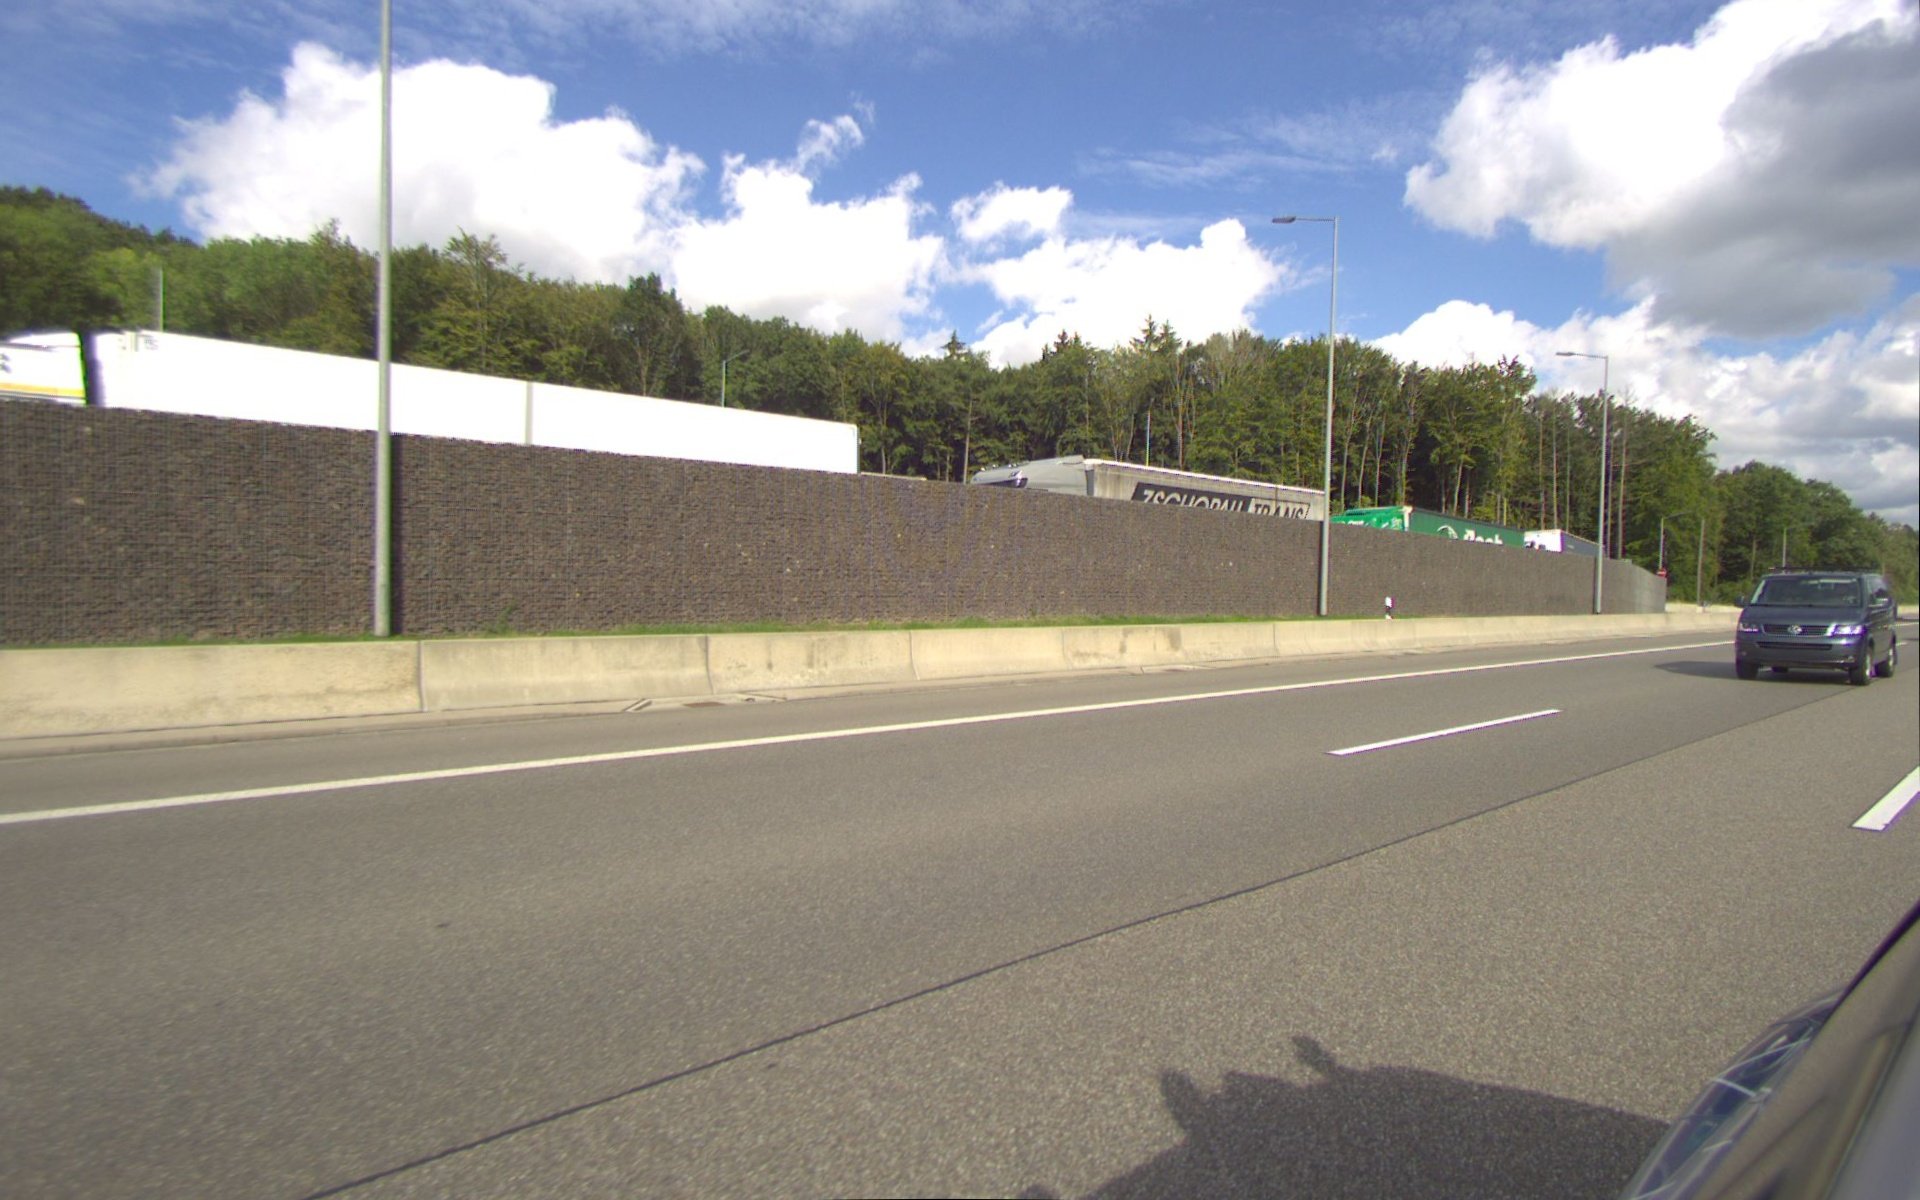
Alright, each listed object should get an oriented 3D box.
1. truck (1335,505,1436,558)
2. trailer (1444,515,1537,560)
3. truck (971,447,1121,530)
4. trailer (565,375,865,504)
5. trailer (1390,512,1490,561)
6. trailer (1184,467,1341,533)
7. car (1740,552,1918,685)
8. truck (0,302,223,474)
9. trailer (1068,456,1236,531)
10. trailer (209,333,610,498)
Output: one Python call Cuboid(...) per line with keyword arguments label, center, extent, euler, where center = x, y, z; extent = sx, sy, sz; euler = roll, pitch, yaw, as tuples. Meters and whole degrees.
Cuboid(label="truck", center=(18.087, -2.866, 42.926), extent=(4.697, 2.038, 2.049), euler=(-2, 2, -40))
Cuboid(label="trailer", center=(26.306, -3.043, 50.062), extent=(6.087, 2.038, 1.997), euler=(-3, 2, -41))
Cuboid(label="truck", center=(2.501, -3.109, 28.966), extent=(4.026, 2.038, 2.048), euler=(-2, 2, -41))
Cuboid(label="trailer", center=(-5.266, -3.396, 22.524), extent=(6.211, 2.038, 2.134), euler=(0, 2, -41))
Cuboid(label="trailer", center=(21.998, -2.866, 46.250), extent=(5.675, 2.038, 1.997), euler=(-3, 2, -40))
Cuboid(label="trailer", center=(11.004, -3.500, 36.423), extent=(6.844, 2.038, 2.054), euler=(-3, 2, -41))
Cuboid(label="car", center=(16.491, 0.254, 19.115), extent=(4.876, 2.192, 1.925), euler=(-1, 1, -42))
Cuboid(label="truck", center=(-13.595, -3.144, 15.201), extent=(3.930, 2.039, 2.151), euler=(0, 2, -41))
Cuboid(label="trailer", center=(6.201, -3.280, 32.223), extent=(5.903, 2.038, 2.048), euler=(-3, 2, -41))
Cuboid(label="trailer", center=(-9.825, -3.140, 18.490), extent=(6.126, 2.038, 2.134), euler=(0, 2, -41))
